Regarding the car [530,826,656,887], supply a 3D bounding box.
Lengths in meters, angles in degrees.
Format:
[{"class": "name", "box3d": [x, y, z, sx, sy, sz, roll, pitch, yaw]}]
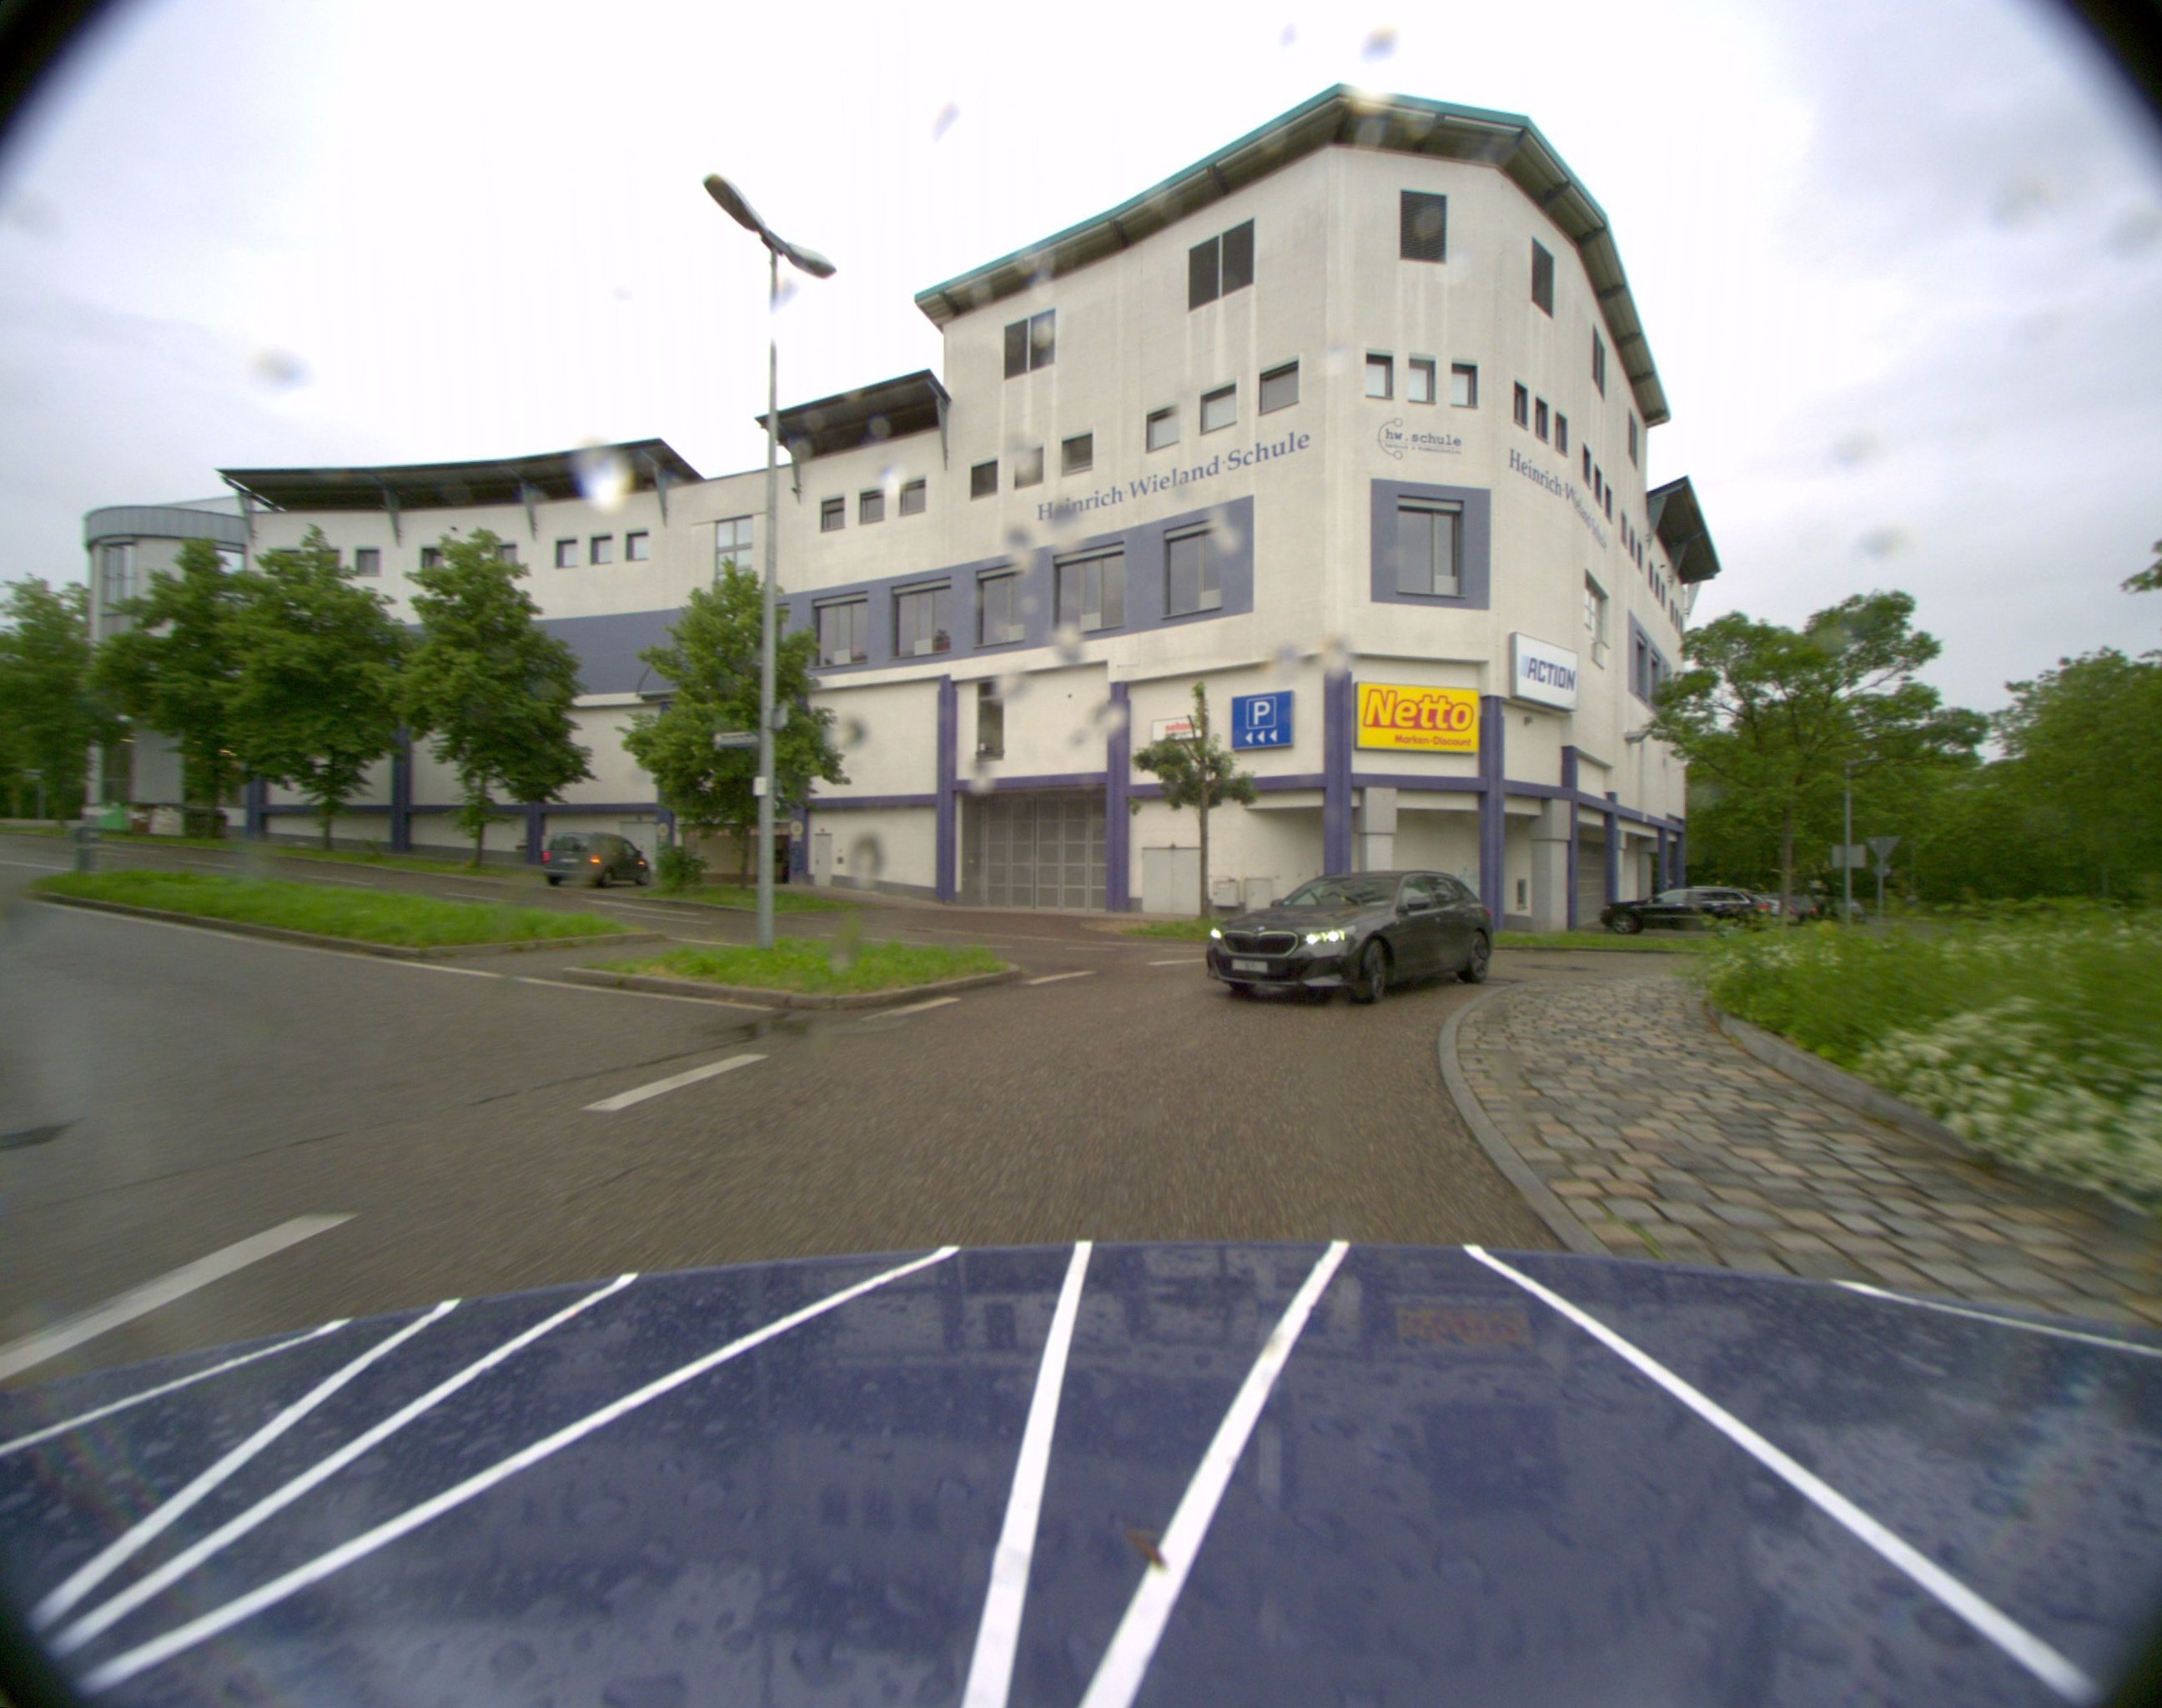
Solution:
[{"class": "car", "box3d": [-16.213, 0.079, 25.480, 1.924, 1.790, 3.788, 4, 0, -5]}]

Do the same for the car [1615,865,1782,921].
[{"class": "car", "box3d": [21.391, 1.328, 26.435, 4.378, 1.748, 1.834, 0, -3, 44]}]

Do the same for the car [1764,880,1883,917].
[{"class": "car", "box3d": [35.118, 2.059, 36.059, 3.939, 1.444, 1.725, 1, 1, 44]}]

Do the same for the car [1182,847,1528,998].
[{"class": "car", "box3d": [3.687, 0.756, 9.728, 4.912, 1.485, 1.840, 2, -2, -38]}]

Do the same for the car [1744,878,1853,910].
[{"class": "car", "box3d": [38.372, 2.110, 40.808, 4.107, 1.470, 1.725, 1, 1, 39]}]

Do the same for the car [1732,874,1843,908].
[{"class": "car", "box3d": [40.116, 2.083, 43.316, 4.471, 1.670, 1.772, 1, -1, 39]}]

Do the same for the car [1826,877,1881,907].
[{"class": "car", "box3d": [48.556, 2.350, 47.825, 1.801, 1.593, 4.381, 3, 1, 38]}]
